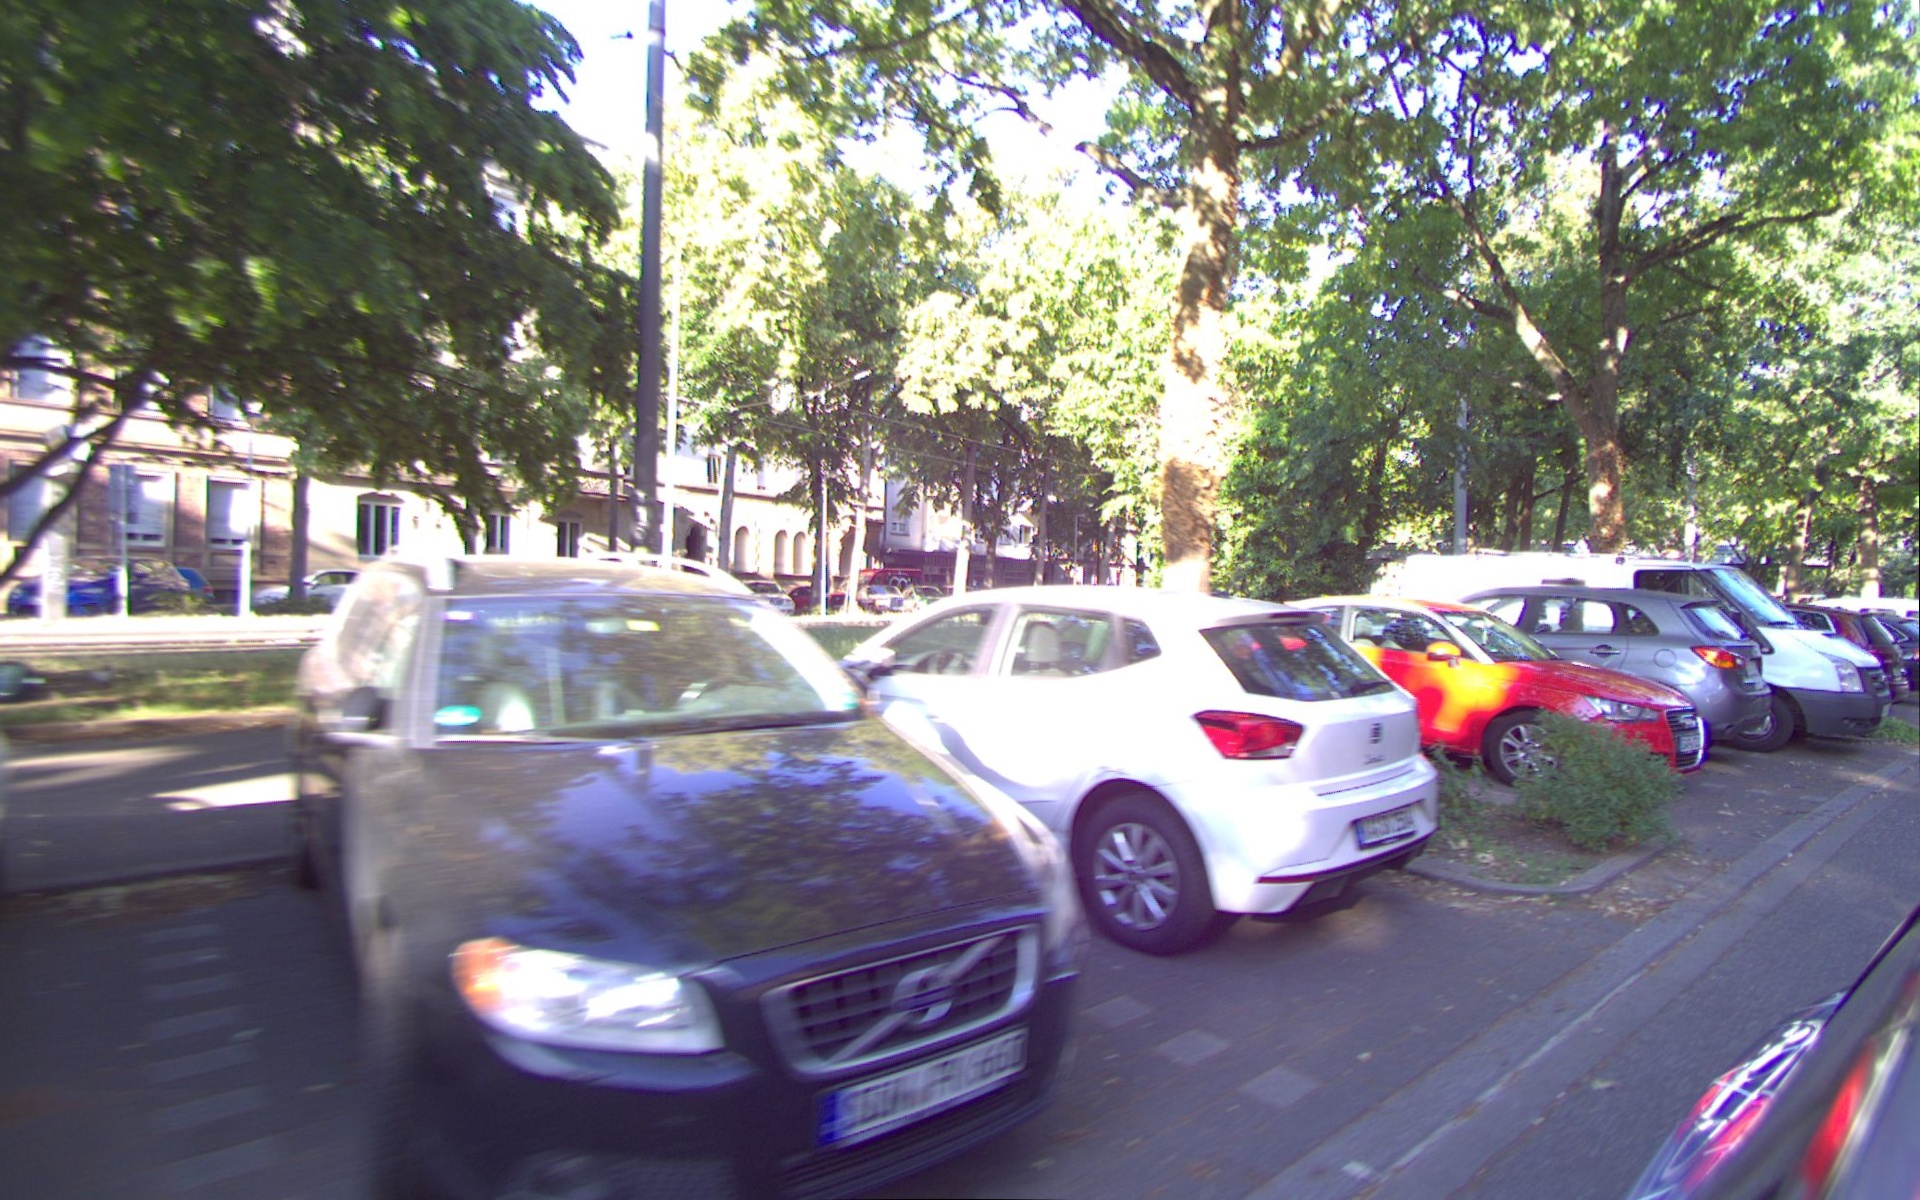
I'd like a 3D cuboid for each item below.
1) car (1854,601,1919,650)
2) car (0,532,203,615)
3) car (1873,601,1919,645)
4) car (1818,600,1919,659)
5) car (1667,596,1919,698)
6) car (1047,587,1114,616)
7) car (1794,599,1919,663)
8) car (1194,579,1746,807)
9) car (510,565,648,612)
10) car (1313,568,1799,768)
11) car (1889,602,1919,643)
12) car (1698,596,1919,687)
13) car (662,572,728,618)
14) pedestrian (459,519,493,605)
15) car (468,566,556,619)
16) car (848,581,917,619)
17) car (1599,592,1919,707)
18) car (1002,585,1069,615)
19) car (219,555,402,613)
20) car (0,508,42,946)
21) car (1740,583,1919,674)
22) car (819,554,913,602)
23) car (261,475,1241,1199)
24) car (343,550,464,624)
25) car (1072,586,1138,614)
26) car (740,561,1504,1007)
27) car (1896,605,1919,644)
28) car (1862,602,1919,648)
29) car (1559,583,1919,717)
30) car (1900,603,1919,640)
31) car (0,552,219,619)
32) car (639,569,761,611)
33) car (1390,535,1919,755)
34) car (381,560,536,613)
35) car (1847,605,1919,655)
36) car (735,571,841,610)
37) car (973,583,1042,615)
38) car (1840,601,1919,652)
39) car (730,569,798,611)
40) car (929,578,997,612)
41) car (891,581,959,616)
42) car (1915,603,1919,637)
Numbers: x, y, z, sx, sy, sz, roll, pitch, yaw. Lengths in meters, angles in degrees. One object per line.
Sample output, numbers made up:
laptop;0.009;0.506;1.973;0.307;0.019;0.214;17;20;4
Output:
car;31.969;0.886;32.986;1.654;1.507;3.996;1;2;-40
car;-17.684;-0.568;20.942;1.771;1.505;4.292;2;1;-16
car;35.594;0.895;36.217;1.654;1.541;4.130;1;2;-40
car;26.507;0.841;27.979;1.654;1.507;3.996;1;2;-40
car;15.187;0.767;17.981;1.654;1.507;3.996;1;2;-40
car;5.989;0.043;50.919;1.711;1.295;4.010;1;1;-19
car;24.555;0.828;26.461;1.654;1.507;3.996;1;2;-40
car;4.217;0.606;8.917;1.654;1.441;3.996;1;2;-40
car;-13.923;-0.412;37.175;1.989;1.587;4.359;3;2;37
car;5.980;0.531;10.527;1.735;1.599;3.993;1;2;-42
car;37.443;0.926;37.506;1.654;1.507;4.262;1;2;-40
car;17.161;0.769;19.874;1.654;1.507;3.996;1;2;-40
car;-8.590;-0.197;32.572;1.711;1.295;4.010;1;1;-19
pedestrian;-17.017;-1.320;35.581;0.916;2.984;0.690;2;1;38
car;-12.151;-0.250;27.670;1.771;1.295;4.292;2;1;-19
car;-3.113;-0.034;39.898;1.711;1.295;4.010;1;1;-19
car;13.022;0.701;16.560;1.654;1.507;3.996;1;2;-40
car;3.613;-0.035;49.161;1.711;1.295;4.010;1;1;-19
car;-19.359;-0.478;30.309;1.989;1.587;4.186;3;2;37
car;-3.599;0.462;2.490;1.687;1.533;3.408;1;1;-38
car;20.456;0.623;23.019;1.654;1.855;3.996;1;2;-40
car;-4.532;-1.048;49.523;1.990;2.199;4.549;3;2;38
car;-1.447;0.527;4.035;1.963;1.592;4.713;0;2;-38
car;-14.144;-0.370;25.978;1.771;1.716;4.292;2;1;-16
car;7.589;0.002;53.392;1.711;1.295;4.010;1;1;-19
car;0.500;0.576;5.519;1.654;1.479;3.996;1;2;-40
car;39.128;1.042;39.019;1.654;1.507;4.262;1;2;-40
car;33.712;0.902;34.670;1.654;1.507;3.996;1;2;-40
car;11.295;0.612;14.808;1.654;1.573;3.996;1;2;-40
car;40.955;0.954;40.918;1.654;1.507;4.130;1;2;-40
car;-22.245;-0.386;26.522;1.989;1.587;4.186;3;2;37
car;-10.599;-0.402;41.517;1.990;1.587;4.549;3;2;38
car;8.007;0.329;12.030;2.117;2.063;4.856;1;2;-40
car;-16.601;-0.446;33.652;1.989;1.587;4.186;3;2;37
car;28.274;0.926;29.042;1.654;1.355;3.996;1;2;-40
car;-7.689;-0.421;45.484;1.990;1.587;4.549;3;2;38
car;2.112;-0.068;45.946;1.711;1.295;4.010;1;1;-19
car;30.453;0.876;31.792;1.654;1.507;3.996;1;2;-40
car;-6.774;-0.373;34.689;1.711;1.295;4.010;1;1;-19
car;0.084;-0.245;44.283;1.711;1.295;4.010;1;1;-19
car;-1.516;-0.110;42.600;1.711;1.295;4.010;1;1;-19
car;44.418;0.980;43.899;1.654;1.507;4.130;1;2;-40
